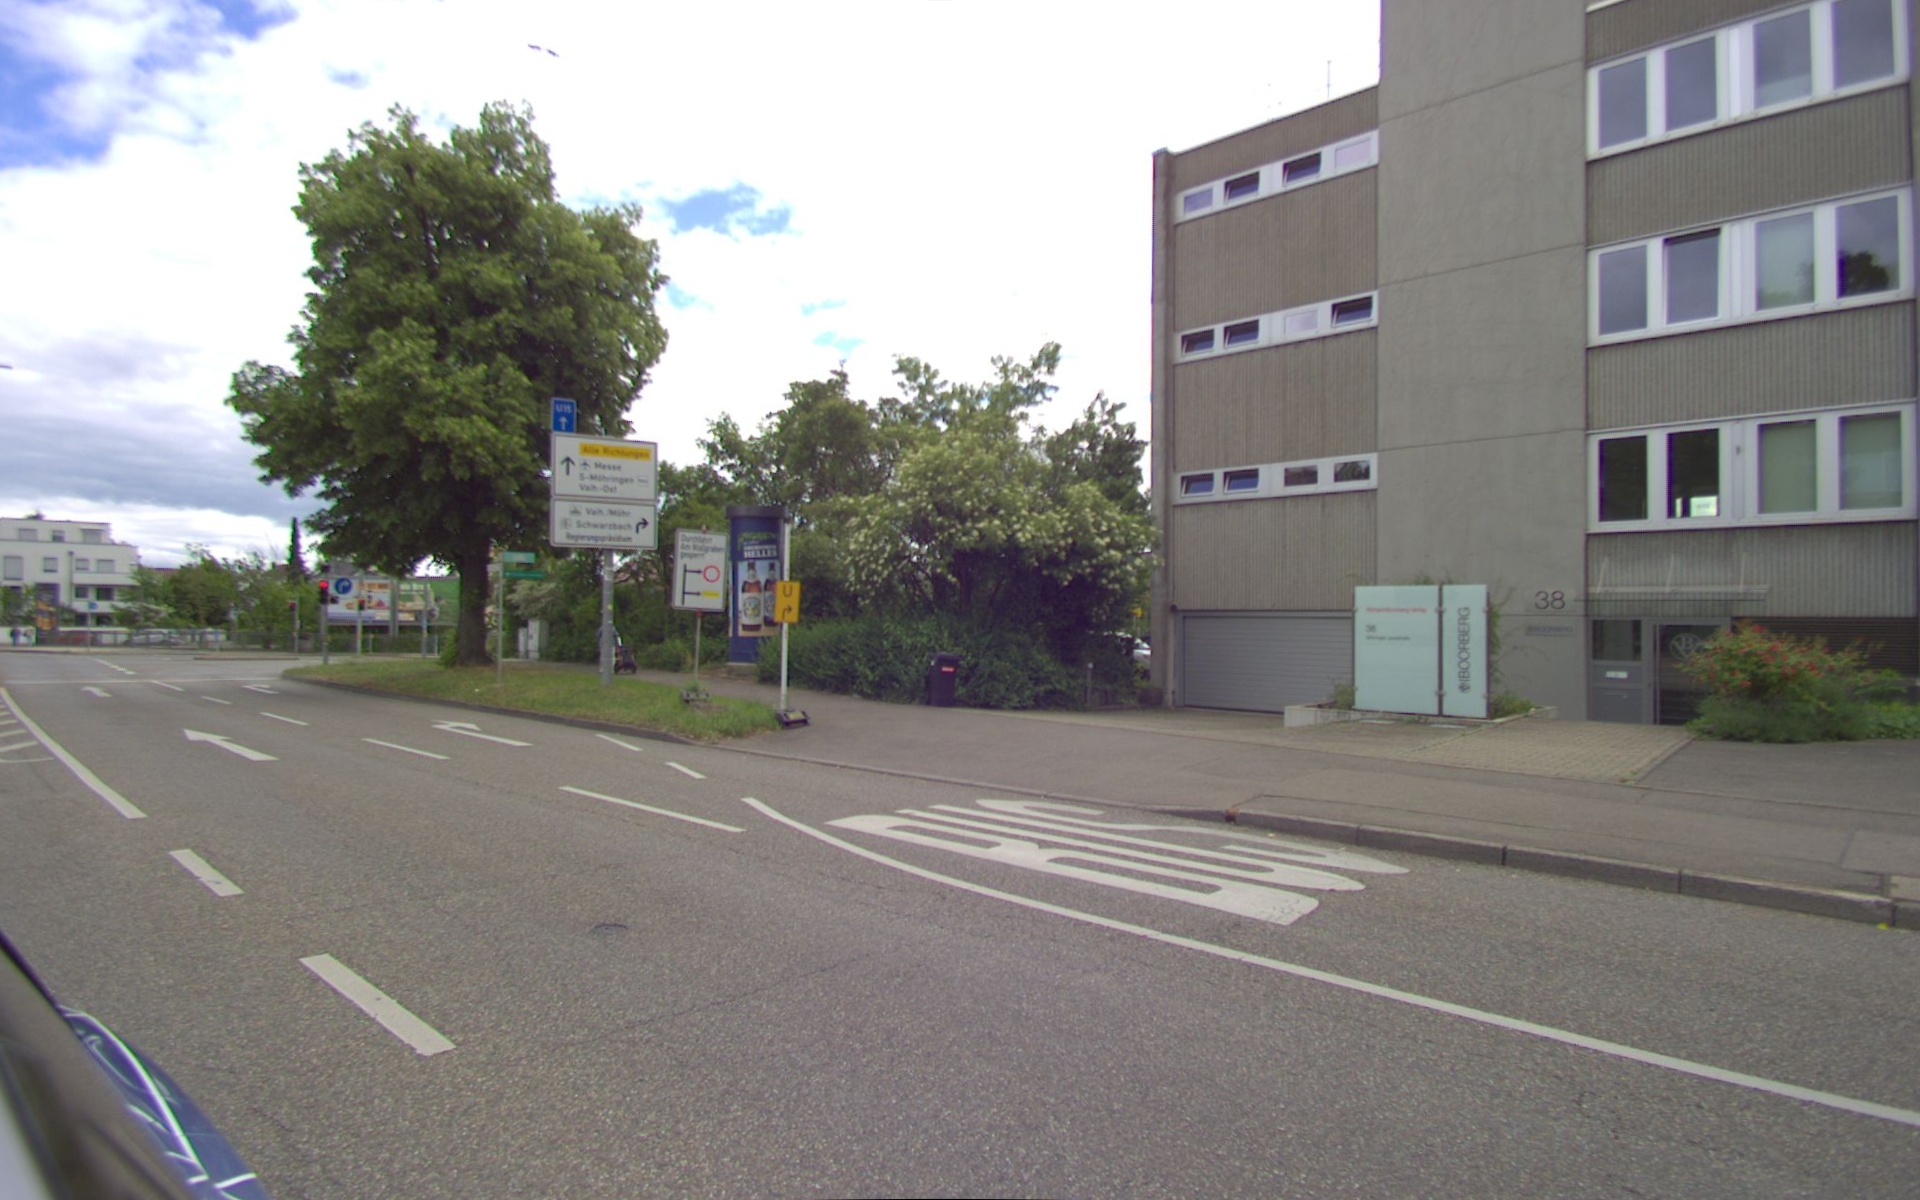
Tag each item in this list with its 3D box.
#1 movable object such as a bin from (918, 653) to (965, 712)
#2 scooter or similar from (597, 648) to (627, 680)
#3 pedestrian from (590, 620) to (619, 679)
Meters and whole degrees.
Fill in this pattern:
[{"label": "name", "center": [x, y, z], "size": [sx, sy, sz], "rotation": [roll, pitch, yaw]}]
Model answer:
[{"label": "movable object such as a bin", "center": [-0.314, 1.377, 17.023], "size": [0.558, 0.934, 0.609], "rotation": [0, -1, -32]}, {"label": "scooter or similar", "center": [-9.361, 1.724, 27.192], "size": [0.598, 0.792, 0.862], "rotation": [-1, 0, -31]}, {"label": "pedestrian", "center": [-9.759, 1.357, 27.795], "size": [0.662, 1.570, 0.521], "rotation": [-1, 0, -31]}]
